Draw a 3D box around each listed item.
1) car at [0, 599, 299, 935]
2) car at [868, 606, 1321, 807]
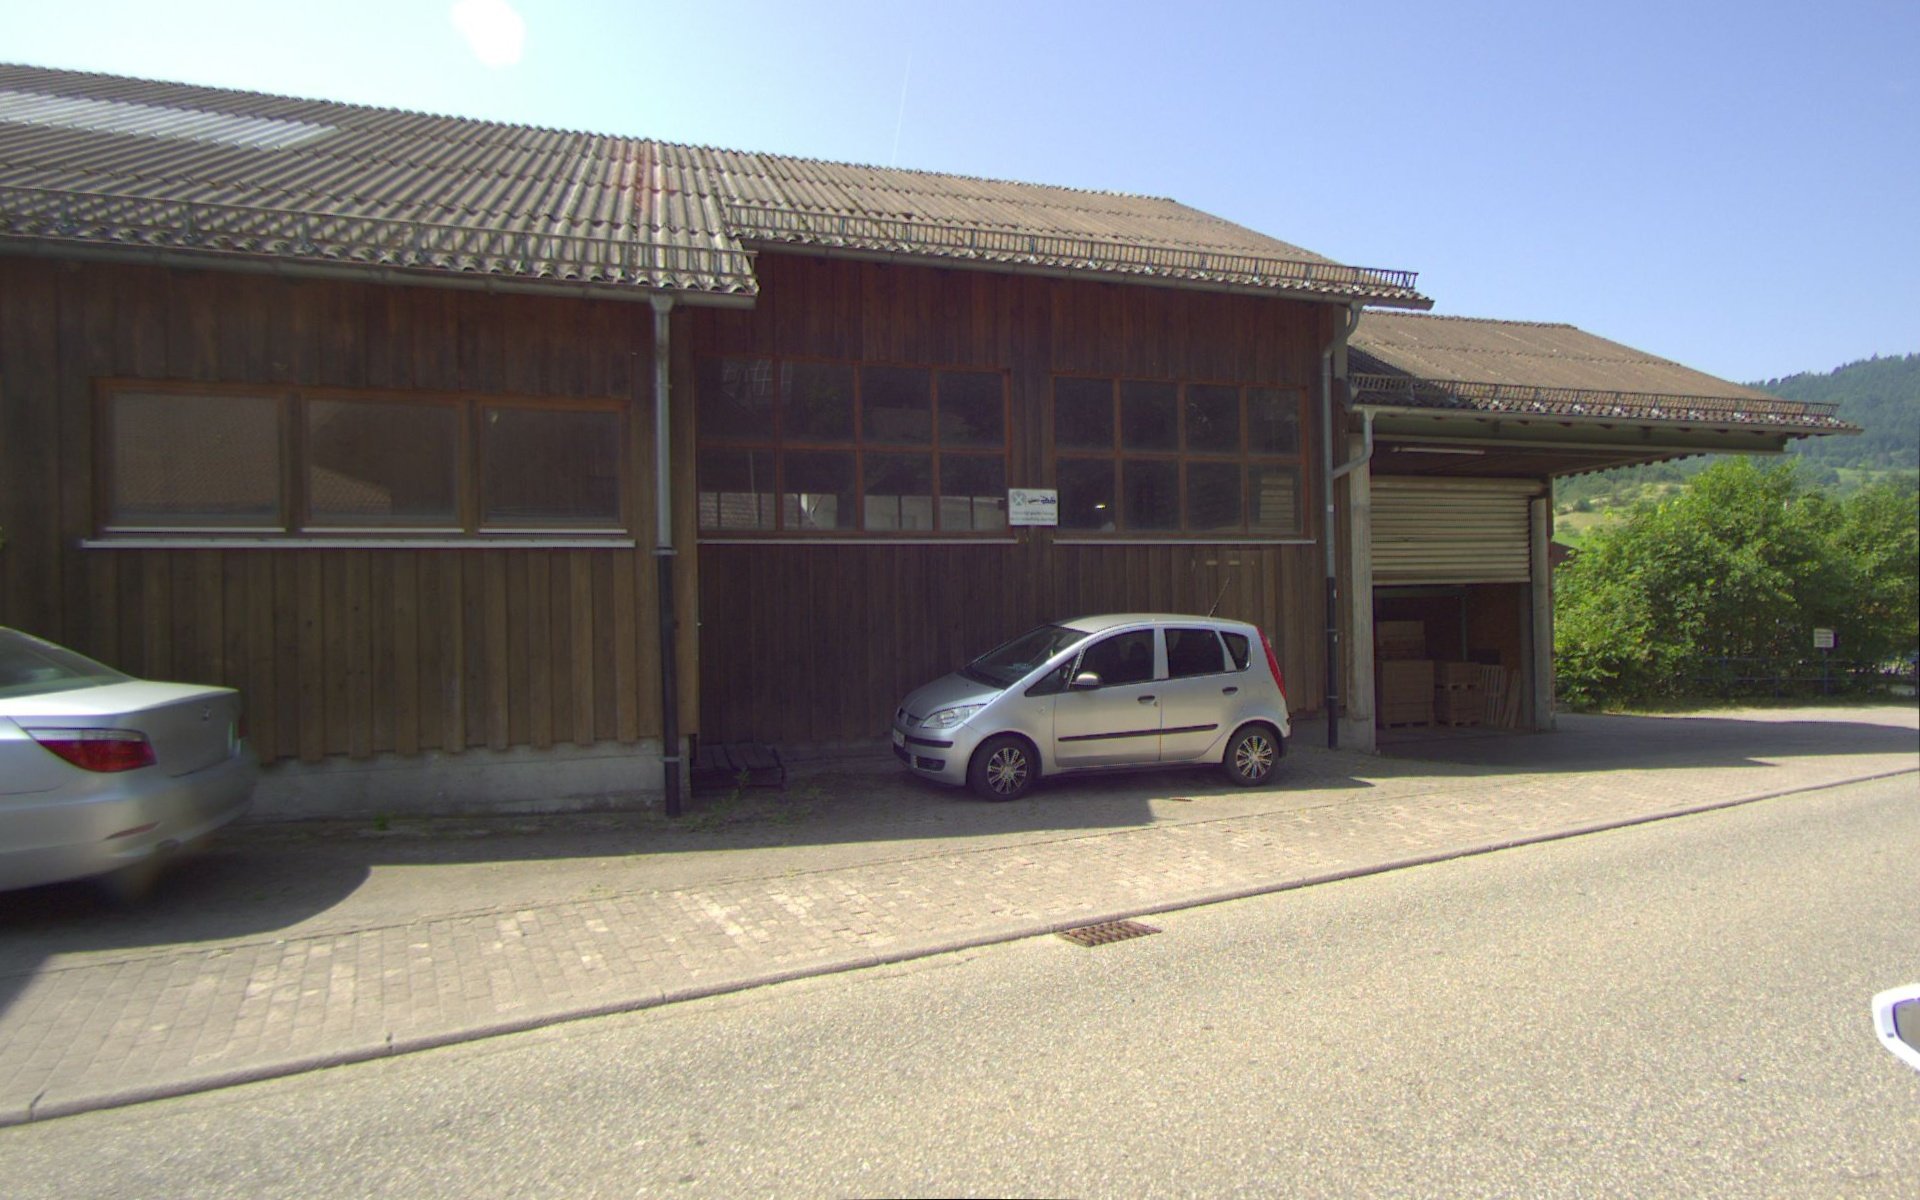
[{"bbox_3d":[-6.184,0.765,4.796,4.723,1.473,1.730,0,-1,-15],"label":"car"},{"bbox_3d":[1.229,0.893,9.528,3.957,1.591,1.580,1,2,-17],"label":"car"}]
